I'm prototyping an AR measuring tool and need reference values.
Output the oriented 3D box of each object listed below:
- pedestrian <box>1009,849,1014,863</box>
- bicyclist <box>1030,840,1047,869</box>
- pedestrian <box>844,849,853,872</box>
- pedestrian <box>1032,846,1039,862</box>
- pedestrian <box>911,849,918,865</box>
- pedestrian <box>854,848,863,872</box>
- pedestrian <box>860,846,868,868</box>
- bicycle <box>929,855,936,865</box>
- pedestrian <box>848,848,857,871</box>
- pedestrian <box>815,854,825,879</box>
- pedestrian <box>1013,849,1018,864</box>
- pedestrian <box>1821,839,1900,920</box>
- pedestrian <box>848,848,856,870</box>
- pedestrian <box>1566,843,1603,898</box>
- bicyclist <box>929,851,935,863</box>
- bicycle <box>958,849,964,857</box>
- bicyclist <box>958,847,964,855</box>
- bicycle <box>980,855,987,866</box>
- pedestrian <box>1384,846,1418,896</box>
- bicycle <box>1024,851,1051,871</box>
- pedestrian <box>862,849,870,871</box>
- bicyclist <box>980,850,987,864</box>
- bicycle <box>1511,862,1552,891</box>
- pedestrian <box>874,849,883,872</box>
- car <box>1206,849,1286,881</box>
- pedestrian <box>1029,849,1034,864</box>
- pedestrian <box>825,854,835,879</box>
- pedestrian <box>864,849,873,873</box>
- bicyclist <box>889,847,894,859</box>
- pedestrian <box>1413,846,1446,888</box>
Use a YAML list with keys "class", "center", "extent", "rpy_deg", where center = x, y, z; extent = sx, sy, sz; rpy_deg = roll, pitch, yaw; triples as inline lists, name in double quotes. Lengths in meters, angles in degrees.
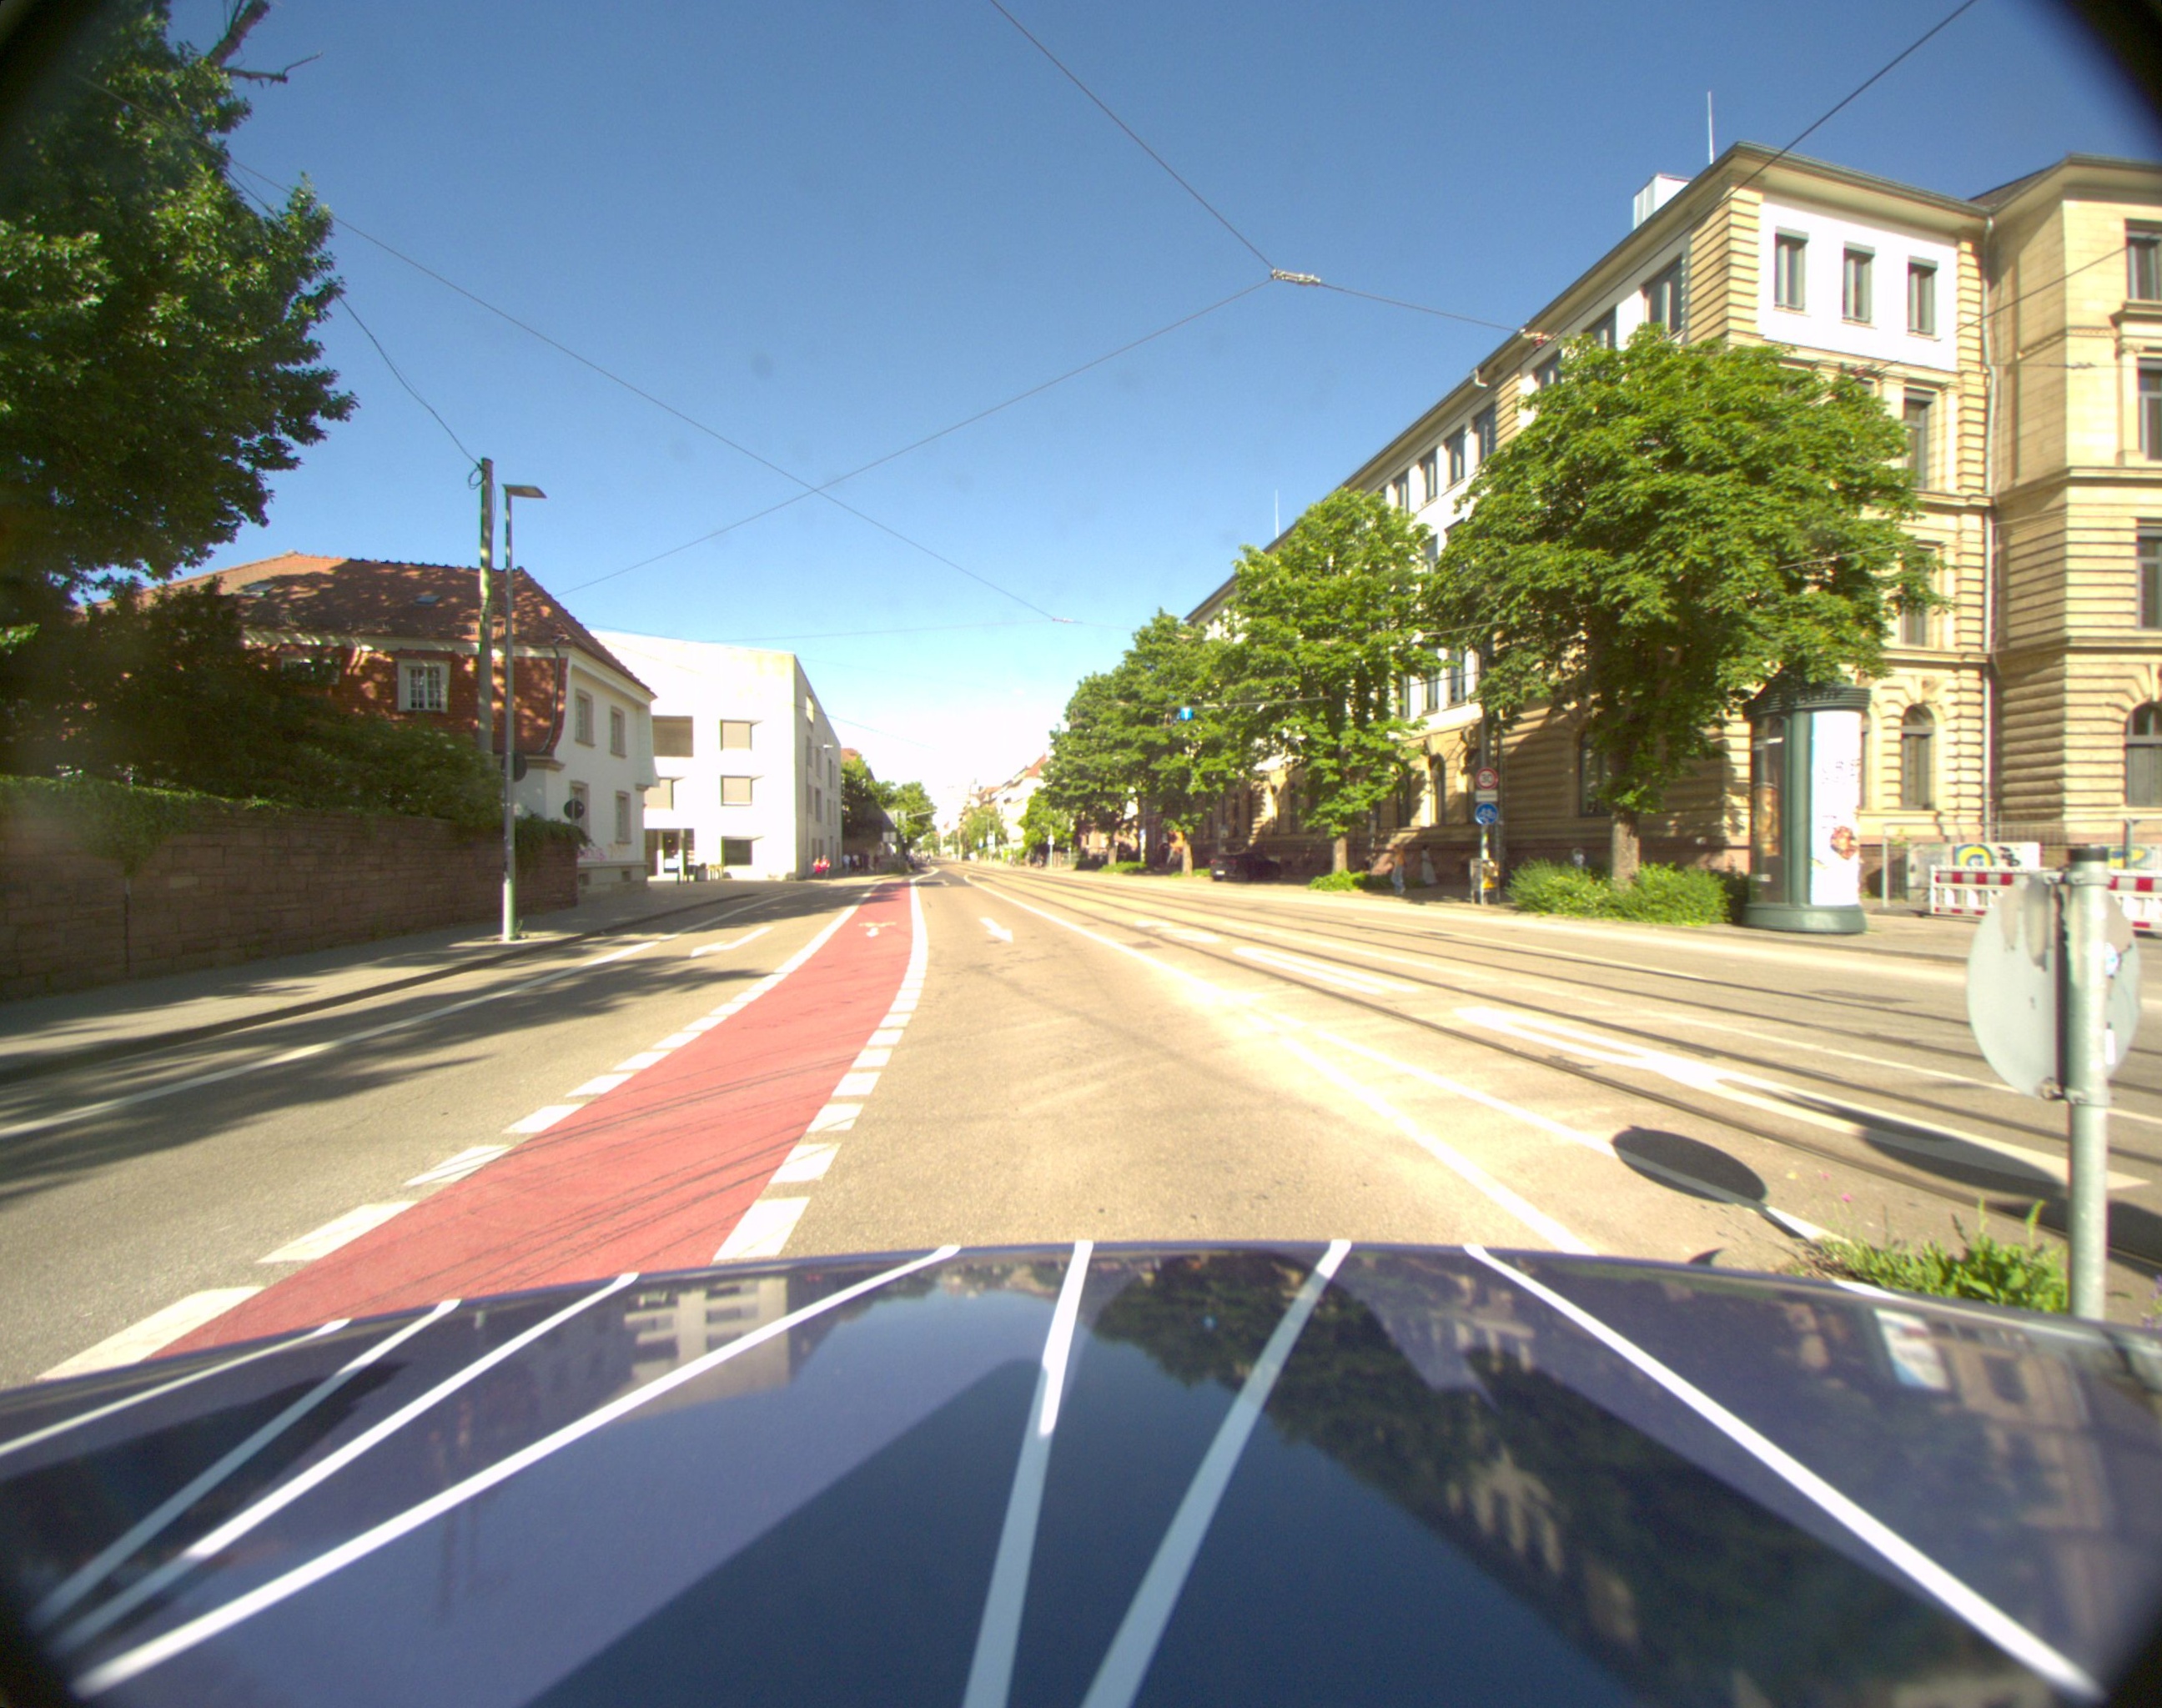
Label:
- class: "pedestrian"
  center: [-9.263, 0.204, 101.238]
  extent: [0.579, 1.845, 0.684]
  rpy_deg: [0, 1, -11]
- class: "bicyclist"
  center: [-4.336, 0.022, 77.890]
  extent: [1.001, 2.959, 1.476]
  rpy_deg: [-1, 2, 26]
- class: "pedestrian"
  center: [-17.741, 0.500, 57.960]
  extent: [0.588, 1.795, 0.545]
  rpy_deg: [-1, 1, -13]
- class: "pedestrian"
  center: [-5.142, 0.035, 86.415]
  extent: [0.729, 1.845, 0.653]
  rpy_deg: [0, 1, -9]
- class: "pedestrian"
  center: [-18.395, 0.337, 84.058]
  extent: [0.679, 1.728, 0.931]
  rpy_deg: [0, 1, -10]
- class: "pedestrian"
  center: [-17.014, 0.473, 58.112]
  extent: [0.588, 1.795, 0.545]
  rpy_deg: [-1, 1, -13]
- class: "pedestrian"
  center: [-17.651, 0.252, 61.832]
  extent: [0.588, 1.795, 0.545]
  rpy_deg: [-1, 1, -13]
- class: "bicycle"
  center: [-17.902, 0.670, 91.523]
  extent: [0.665, 1.146, 1.670]
  rpy_deg: [-2, 2, -8]
- class: "pedestrian"
  center: [-18.074, 0.438, 60.048]
  extent: [0.588, 1.795, 0.582]
  rpy_deg: [-1, 1, -13]
- class: "pedestrian"
  center: [-16.315, 0.771, 47.497]
  extent: [0.535, 1.557, 0.519]
  rpy_deg: [-1, 1, -13]
- class: "pedestrian"
  center: [-8.266, 0.307, 96.195]
  extent: [0.579, 1.845, 0.684]
  rpy_deg: [0, 1, -11]
- class: "pedestrian"
  center: [16.659, 0.532, 16.266]
  extent: [0.729, 1.660, 0.846]
  rpy_deg: [0, 3, -2]
- class: "pedestrian"
  center: [-18.577, 0.396, 61.671]
  extent: [0.588, 1.795, 0.545]
  rpy_deg: [-1, 1, -13]
- class: "pedestrian"
  center: [14.514, 0.466, 21.921]
  extent: [0.579, 1.553, 0.653]
  rpy_deg: [0, 1, -12]
- class: "bicyclist"
  center: [-17.910, 0.351, 91.493]
  extent: [0.665, 1.453, 0.622]
  rpy_deg: [-2, 2, -8]
- class: "bicycle"
  center: [-26.744, -0.230, 169.462]
  extent: [1.004, 1.672, 2.981]
  rpy_deg: [-2, 2, -12]
- class: "bicyclist"
  center: [-26.761, -0.726, 169.439]
  extent: [1.004, 1.712, 0.983]
  rpy_deg: [-2, 2, -12]
- class: "bicycle"
  center: [-16.446, 1.058, 128.535]
  extent: [1.004, 1.672, 2.981]
  rpy_deg: [-2, 2, -9]
- class: "pedestrian"
  center: [10.798, 0.591, 25.671]
  extent: [0.771, 1.658, 1.035]
  rpy_deg: [0, -3, 7]
- class: "bicycle"
  center: [-4.427, 0.718, 77.653]
  extent: [1.001, 1.876, 3.899]
  rpy_deg: [-1, 2, 25]
- class: "pedestrian"
  center: [-17.076, 0.466, 60.388]
  extent: [0.588, 1.795, 0.582]
  rpy_deg: [-1, 1, -13]
- class: "bicyclist"
  center: [-16.453, 0.542, 128.472]
  extent: [1.004, 2.255, 1.019]
  rpy_deg: [-2, 2, -9]
- class: "bicycle"
  center: [15.274, 0.749, 25.776]
  extent: [0.398, 0.898, 1.359]
  rpy_deg: [-2, 2, -10]
- class: "pedestrian"
  center: [-15.597, 0.513, 58.475]
  extent: [0.588, 1.717, 0.519]
  rpy_deg: [-1, 1, -13]
- class: "car"
  center: [8.591, 0.523, 39.462]
  extent: [4.118, 1.565, 1.916]
  rpy_deg: [-1, 1, -39]
- class: "pedestrian"
  center: [-6.066, 0.309, 92.997]
  extent: [0.579, 1.845, 0.653]
  rpy_deg: [0, 1, -11]
- class: "pedestrian"
  center: [-15.718, 0.755, 47.631]
  extent: [0.535, 1.557, 0.519]
  rpy_deg: [-1, 1, -13]
- class: "pedestrian"
  center: [-16.269, 0.542, 58.252]
  extent: [0.588, 1.795, 0.519]
  rpy_deg: [-1, 1, -13]
- class: "bicyclist"
  center: [-34.936, -0.234, 140.170]
  extent: [0.813, 2.194, 0.983]
  rpy_deg: [-2, 2, -10]
- class: "pedestrian"
  center: [13.353, 0.478, 29.126]
  extent: [0.673, 1.558, 0.857]
  rpy_deg: [-5, 2, -13]
